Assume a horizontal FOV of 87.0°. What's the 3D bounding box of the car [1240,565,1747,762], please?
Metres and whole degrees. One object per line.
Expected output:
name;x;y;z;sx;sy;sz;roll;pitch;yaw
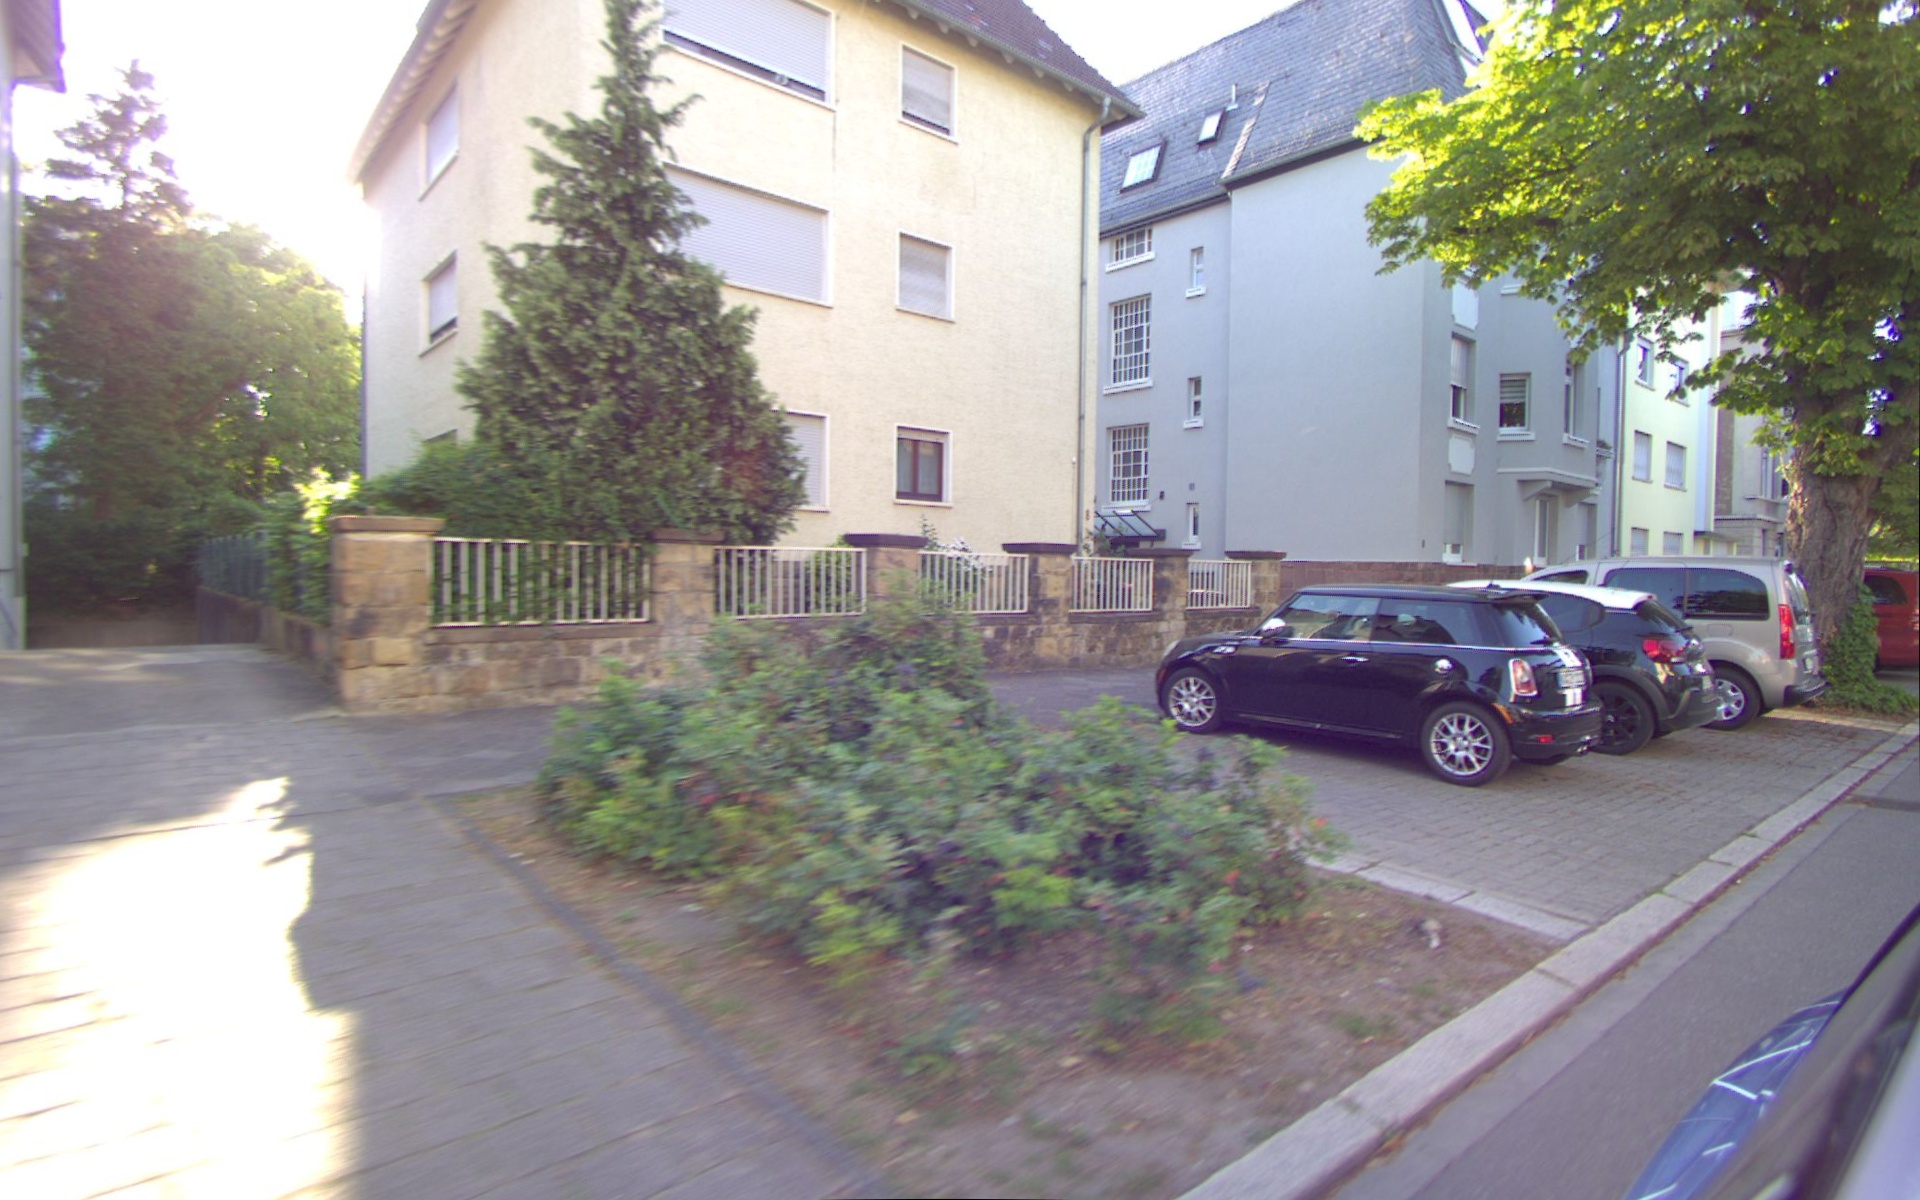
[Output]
car;5.262;0.451;10.456;1.729;1.560;4.307;-1;3;-43

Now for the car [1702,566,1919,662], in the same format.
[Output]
car;17.697;0.217;20.279;1.758;1.725;4.212;-1;3;-36

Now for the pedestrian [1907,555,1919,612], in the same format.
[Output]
pedestrian;34.717;-0.581;36.312;0.964;2.038;0.998;-1;2;-43

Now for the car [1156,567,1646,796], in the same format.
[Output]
car;3.584;0.492;8.650;1.728;1.444;3.410;-1;3;-40

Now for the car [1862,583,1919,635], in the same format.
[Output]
car;28.463;0.290;29.029;1.573;1.460;3.680;-1;3;-40

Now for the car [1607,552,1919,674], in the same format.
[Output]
car;15.006;0.120;18.657;1.915;1.960;4.819;-1;3;-39

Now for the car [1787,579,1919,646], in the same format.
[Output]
car;22.702;0.277;24.658;1.646;1.515;3.680;-1;3;-40

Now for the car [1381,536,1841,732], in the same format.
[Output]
car;7.522;0.224;12.054;1.730;1.907;4.307;-2;4;-43

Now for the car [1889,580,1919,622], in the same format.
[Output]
car;35.934;0.078;36.176;1.573;1.504;3.824;-1;3;-40

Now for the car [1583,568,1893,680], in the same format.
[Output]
car;13.104;0.303;17.242;1.657;1.623;3.903;-1;3;-40

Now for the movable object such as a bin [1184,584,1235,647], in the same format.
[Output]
movable object such as a bin;4.502;0.265;18.246;0.679;1.114;0.605;-1;1;-34

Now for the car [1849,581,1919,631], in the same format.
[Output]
car;30.499;0.204;31.676;1.573;1.504;3.824;-1;3;-40
